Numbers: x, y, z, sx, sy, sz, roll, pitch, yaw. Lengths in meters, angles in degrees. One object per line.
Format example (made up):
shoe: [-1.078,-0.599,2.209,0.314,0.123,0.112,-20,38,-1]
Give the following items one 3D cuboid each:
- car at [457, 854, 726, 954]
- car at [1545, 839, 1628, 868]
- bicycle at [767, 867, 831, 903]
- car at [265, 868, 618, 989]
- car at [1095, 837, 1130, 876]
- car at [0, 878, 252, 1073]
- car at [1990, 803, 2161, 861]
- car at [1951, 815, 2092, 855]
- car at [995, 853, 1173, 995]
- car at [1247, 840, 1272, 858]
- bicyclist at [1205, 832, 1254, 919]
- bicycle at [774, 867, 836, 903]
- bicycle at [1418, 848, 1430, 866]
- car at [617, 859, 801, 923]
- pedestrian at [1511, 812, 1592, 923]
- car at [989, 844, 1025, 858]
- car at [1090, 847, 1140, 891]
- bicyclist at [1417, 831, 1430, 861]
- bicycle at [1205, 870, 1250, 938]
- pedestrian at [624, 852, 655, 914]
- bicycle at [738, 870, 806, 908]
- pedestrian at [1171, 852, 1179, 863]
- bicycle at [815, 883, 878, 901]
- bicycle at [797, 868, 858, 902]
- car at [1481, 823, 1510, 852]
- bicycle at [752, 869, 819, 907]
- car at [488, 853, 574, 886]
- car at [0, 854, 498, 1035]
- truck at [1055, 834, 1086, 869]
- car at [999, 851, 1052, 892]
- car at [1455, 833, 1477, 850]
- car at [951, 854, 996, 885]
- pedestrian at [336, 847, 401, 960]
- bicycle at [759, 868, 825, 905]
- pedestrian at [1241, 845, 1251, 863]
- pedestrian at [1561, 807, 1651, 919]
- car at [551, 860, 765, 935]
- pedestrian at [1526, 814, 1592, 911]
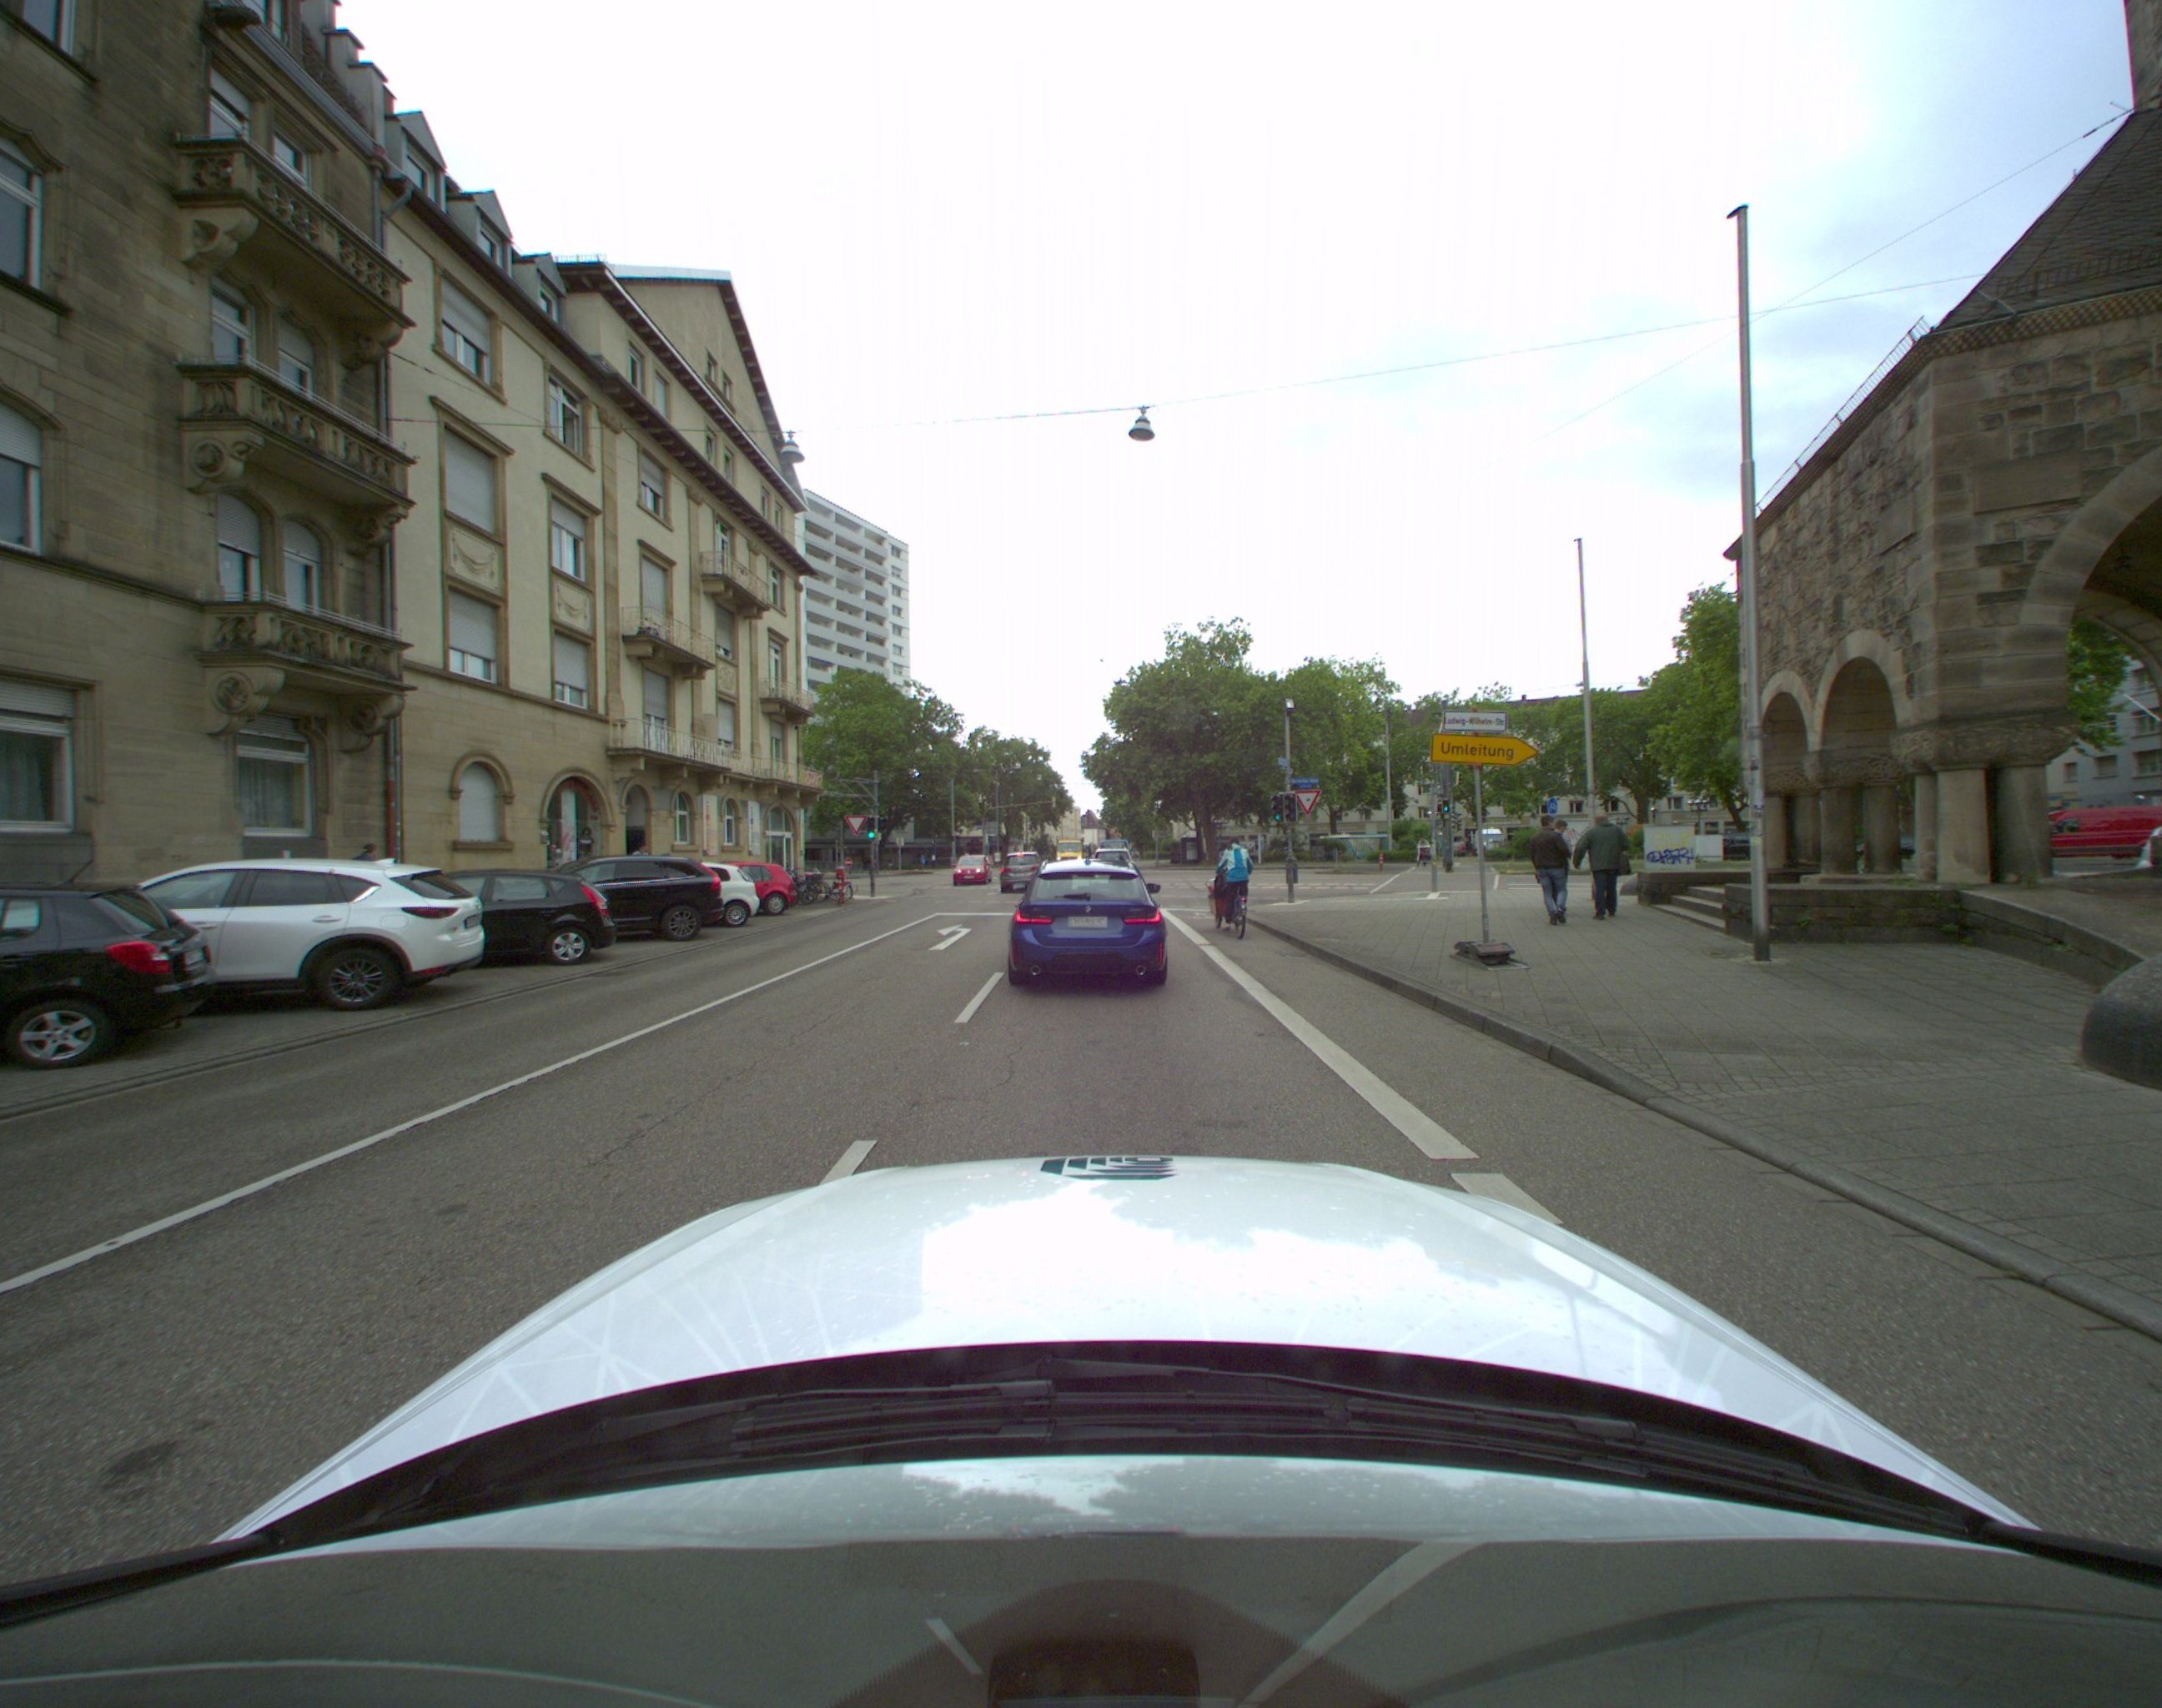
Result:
car: [-9.371,0.855,15.788,4.248,1.651,1.711,-1,0,-41]
car: [29.602,-0.036,47.792,3.940,1.561,1.697,-2,0,25]
bicycle: [-9.255,1.021,26.749,1.880,1.035,0.442,4,0,-1]
car: [-9.515,1.001,12.508,4.017,1.494,1.713,-1,0,-36]
car: [1.745,0.135,45.018,1.808,2.005,4.002,-2,0,2]
car: [-9.569,0.969,6.556,3.830,1.497,1.552,1,-1,-37]
car: [47.939,-1.035,38.960,5.542,2.538,2.004,-2,0,25]
car: [55.511,-1.091,48.203,5.025,2.096,2.004,-2,0,25]
car: [0.102,0.729,10.609,1.808,1.405,4.322,-2,0,2]
car: [22.442,-0.674,102.382,2.154,2.200,4.024,-2,0,26]
bicyclist: [2.700,0.378,14.878,0.683,1.517,1.059,-2,0,2]
bicycle: [-9.269,1.037,27.385,1.880,1.035,0.442,4,0,-1]
bicycle: [19.260,0.145,45.724,0.546,0.995,2.073,-2,0,24]
car: [-9.613,0.889,21.264,1.663,1.472,4.024,1,1,43]
pedestrian: [7.558,0.205,13.118,0.672,1.685,0.969,-4,0,2]
car: [-9.191,-0.370,101.508,4.014,1.706,1.980,-1,-1,-32]
car: [1.341,0.549,32.311,1.808,1.592,4.002,-2,0,2]
bicyclist: [19.202,-0.432,45.623,0.608,1.654,0.758,-2,0,23]
bicycle: [2.686,0.886,15.089,0.492,1.098,2.140,-2,0,2]
pedestrian: [-13.088,0.850,24.163,0.564,1.785,0.551,-2,0,3]
bicycle: [-9.378,1.064,24.737,1.877,1.035,0.443,3,0,4]
pedestrian: [11.340,0.456,97.976,0.850,1.314,0.763,-1,0,2]
bicycle: [-8.320,1.345,28.950,1.880,0.445,1.029,4,2,-1]
bicycle: [-8.689,1.059,27.919,1.880,1.035,0.442,4,0,-1]
car: [39.184,-1.540,76.918,2.214,2.639,5.480,-1,0,28]
bicycle: [-9.261,1.061,25.551,1.880,1.035,0.442,4,0,-1]
car: [-14.734,0.404,21.899,0.910,0.834,2.015,-1,0,2]
car: [-9.416,0.889,9.422,4.004,1.723,1.827,-1,0,-23]
truck: [-0.769,-0.176,61.101,2.067,2.408,5.463,-2,0,1]
car: [-2.197,0.652,33.275,1.726,1.525,4.002,-2,0,2]
car: [35.636,-1.128,75.408,1.649,1.515,3.962,-1,0,28]
car: [-5.348,0.746,41.003,1.643,1.447,3.513,-2,0,2]
pedestrian: [-12.586,0.858,14.392,0.616,1.958,0.551,-2,0,3]
bicycle: [-9.258,1.043,26.087,1.880,1.035,0.442,4,0,-1]
pedestrian: [15.994,-0.028,78.879,0.781,1.743,0.925,-1,0,0]
pedestrian: [8.765,0.144,13.636,0.801,1.758,0.969,-4,0,2]
car: [-9.452,0.907,18.392,4.021,1.472,1.546,1,0,-41]
pedestrian: [8.629,0.146,14.746,0.629,1.673,0.971,-4,0,8]
